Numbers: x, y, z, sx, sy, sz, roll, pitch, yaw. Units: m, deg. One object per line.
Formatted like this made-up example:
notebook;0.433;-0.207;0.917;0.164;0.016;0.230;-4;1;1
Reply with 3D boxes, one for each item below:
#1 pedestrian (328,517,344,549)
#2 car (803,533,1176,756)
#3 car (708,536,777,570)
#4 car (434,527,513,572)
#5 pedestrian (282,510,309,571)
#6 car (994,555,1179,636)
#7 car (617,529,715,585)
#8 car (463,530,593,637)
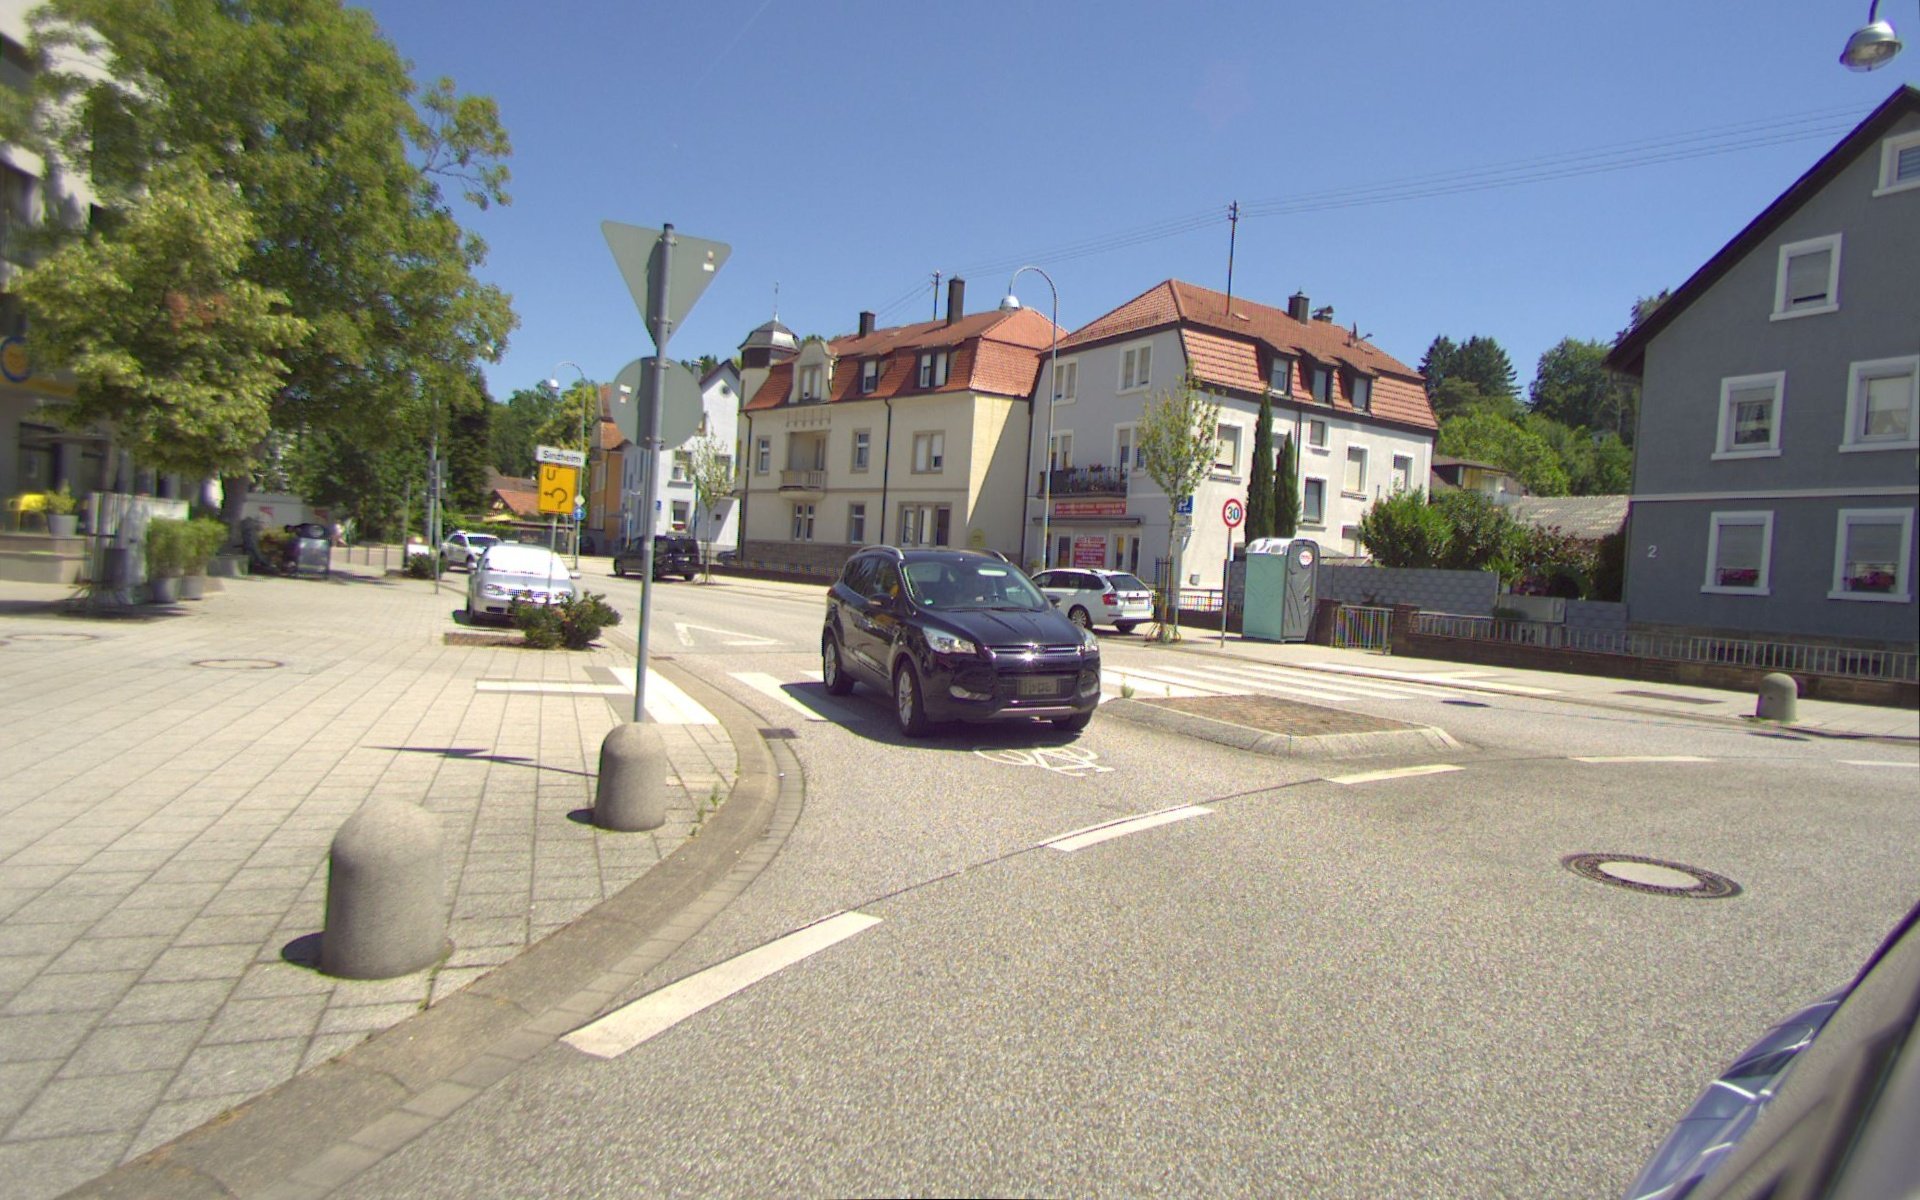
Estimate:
pedestrian;-37.620;-4.021;61.027;0.540;1.836;0.844;4;3;-42
car;-0.016;0.243;10.207;1.958;1.709;4.537;1;2;-24
car;-14.463;-3.111;67.422;3.930;2.038;1.998;1;3;-41
car;-19.494;-2.054;40.482;1.805;1.593;3.996;1;4;-41
pedestrian;-18.475;-1.657;28.142;0.650;1.648;0.400;7;3;44
car;2.927;-0.193;24.275;1.964;1.603;4.286;-4;6;-38
car;-12.206;-1.814;41.918;1.967;1.887;4.278;3;4;-45
car;-7.945;-0.371;18.402;1.765;1.609;4.008;4;2;-28
